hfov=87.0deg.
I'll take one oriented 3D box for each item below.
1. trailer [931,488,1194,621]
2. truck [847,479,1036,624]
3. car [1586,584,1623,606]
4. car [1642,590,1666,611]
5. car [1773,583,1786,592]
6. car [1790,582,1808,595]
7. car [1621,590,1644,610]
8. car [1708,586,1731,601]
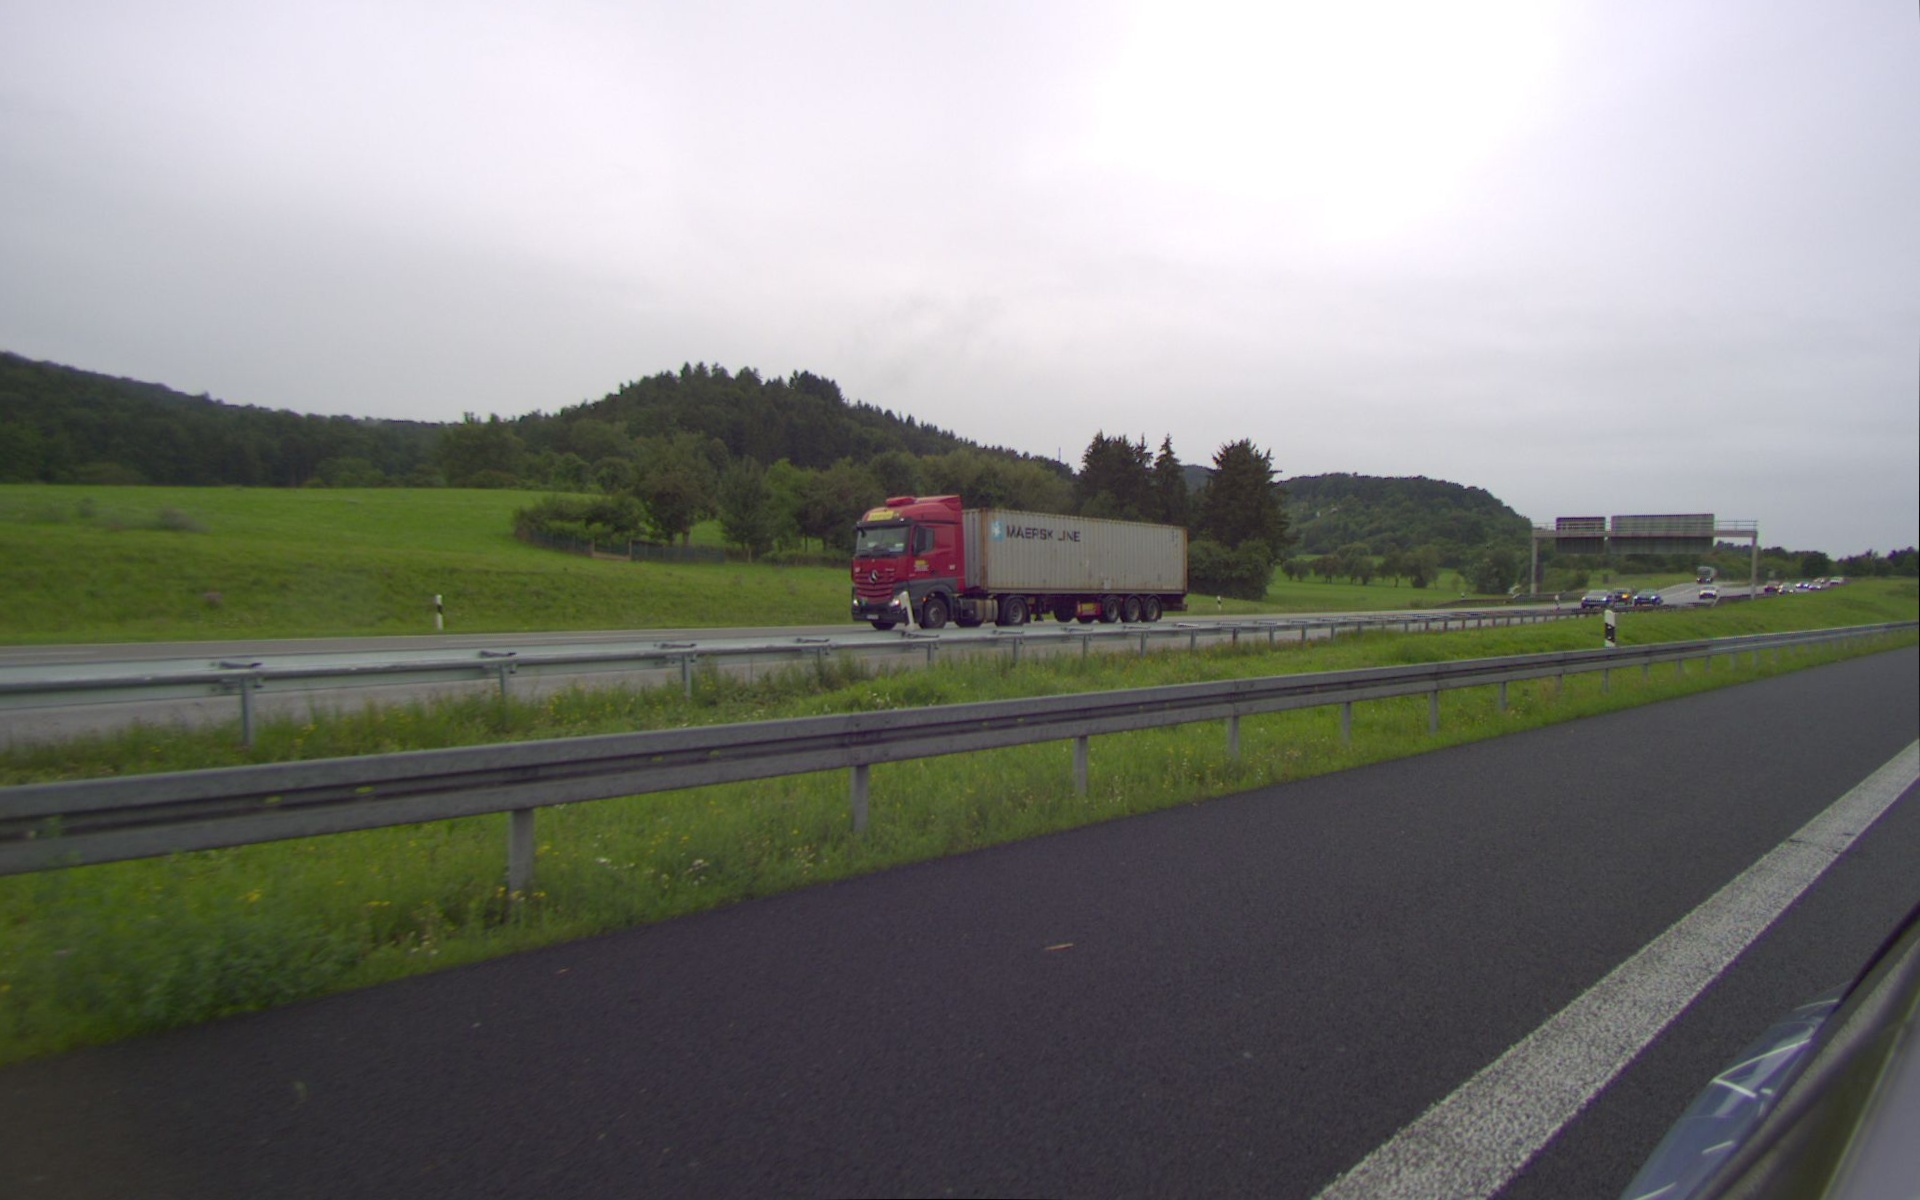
[{"bbox_3d":[4.124,-1.406,36.046,2.490,4.034,12.212,-1,0,43],"label":"trailer"},{"bbox_3d":[-0.450,-1.376,31.143,2.507,4.037,5.836,-1,0,43],"label":"truck"},{"bbox_3d":[53.577,-0.427,84.056,1.992,1.742,4.255,2,1,41],"label":"car"},{"bbox_3d":[68.602,0.039,100.006,1.646,2.039,3.944,2,1,39],"label":"car"},{"bbox_3d":[148.104,-2.176,182.891,1.579,1.571,3.939,0,0,42],"label":"car"},{"bbox_3d":[141.635,-1.921,170.803,3.931,2.039,1.732,0,0,-42],"label":"car"},{"bbox_3d":[70.703,0.014,106.363,1.646,2.039,3.944,2,1,39],"label":"car"},{"bbox_3d":[102.578,-0.897,136.627,1.994,2.039,3.936,2,1,45],"label":"car"}]
